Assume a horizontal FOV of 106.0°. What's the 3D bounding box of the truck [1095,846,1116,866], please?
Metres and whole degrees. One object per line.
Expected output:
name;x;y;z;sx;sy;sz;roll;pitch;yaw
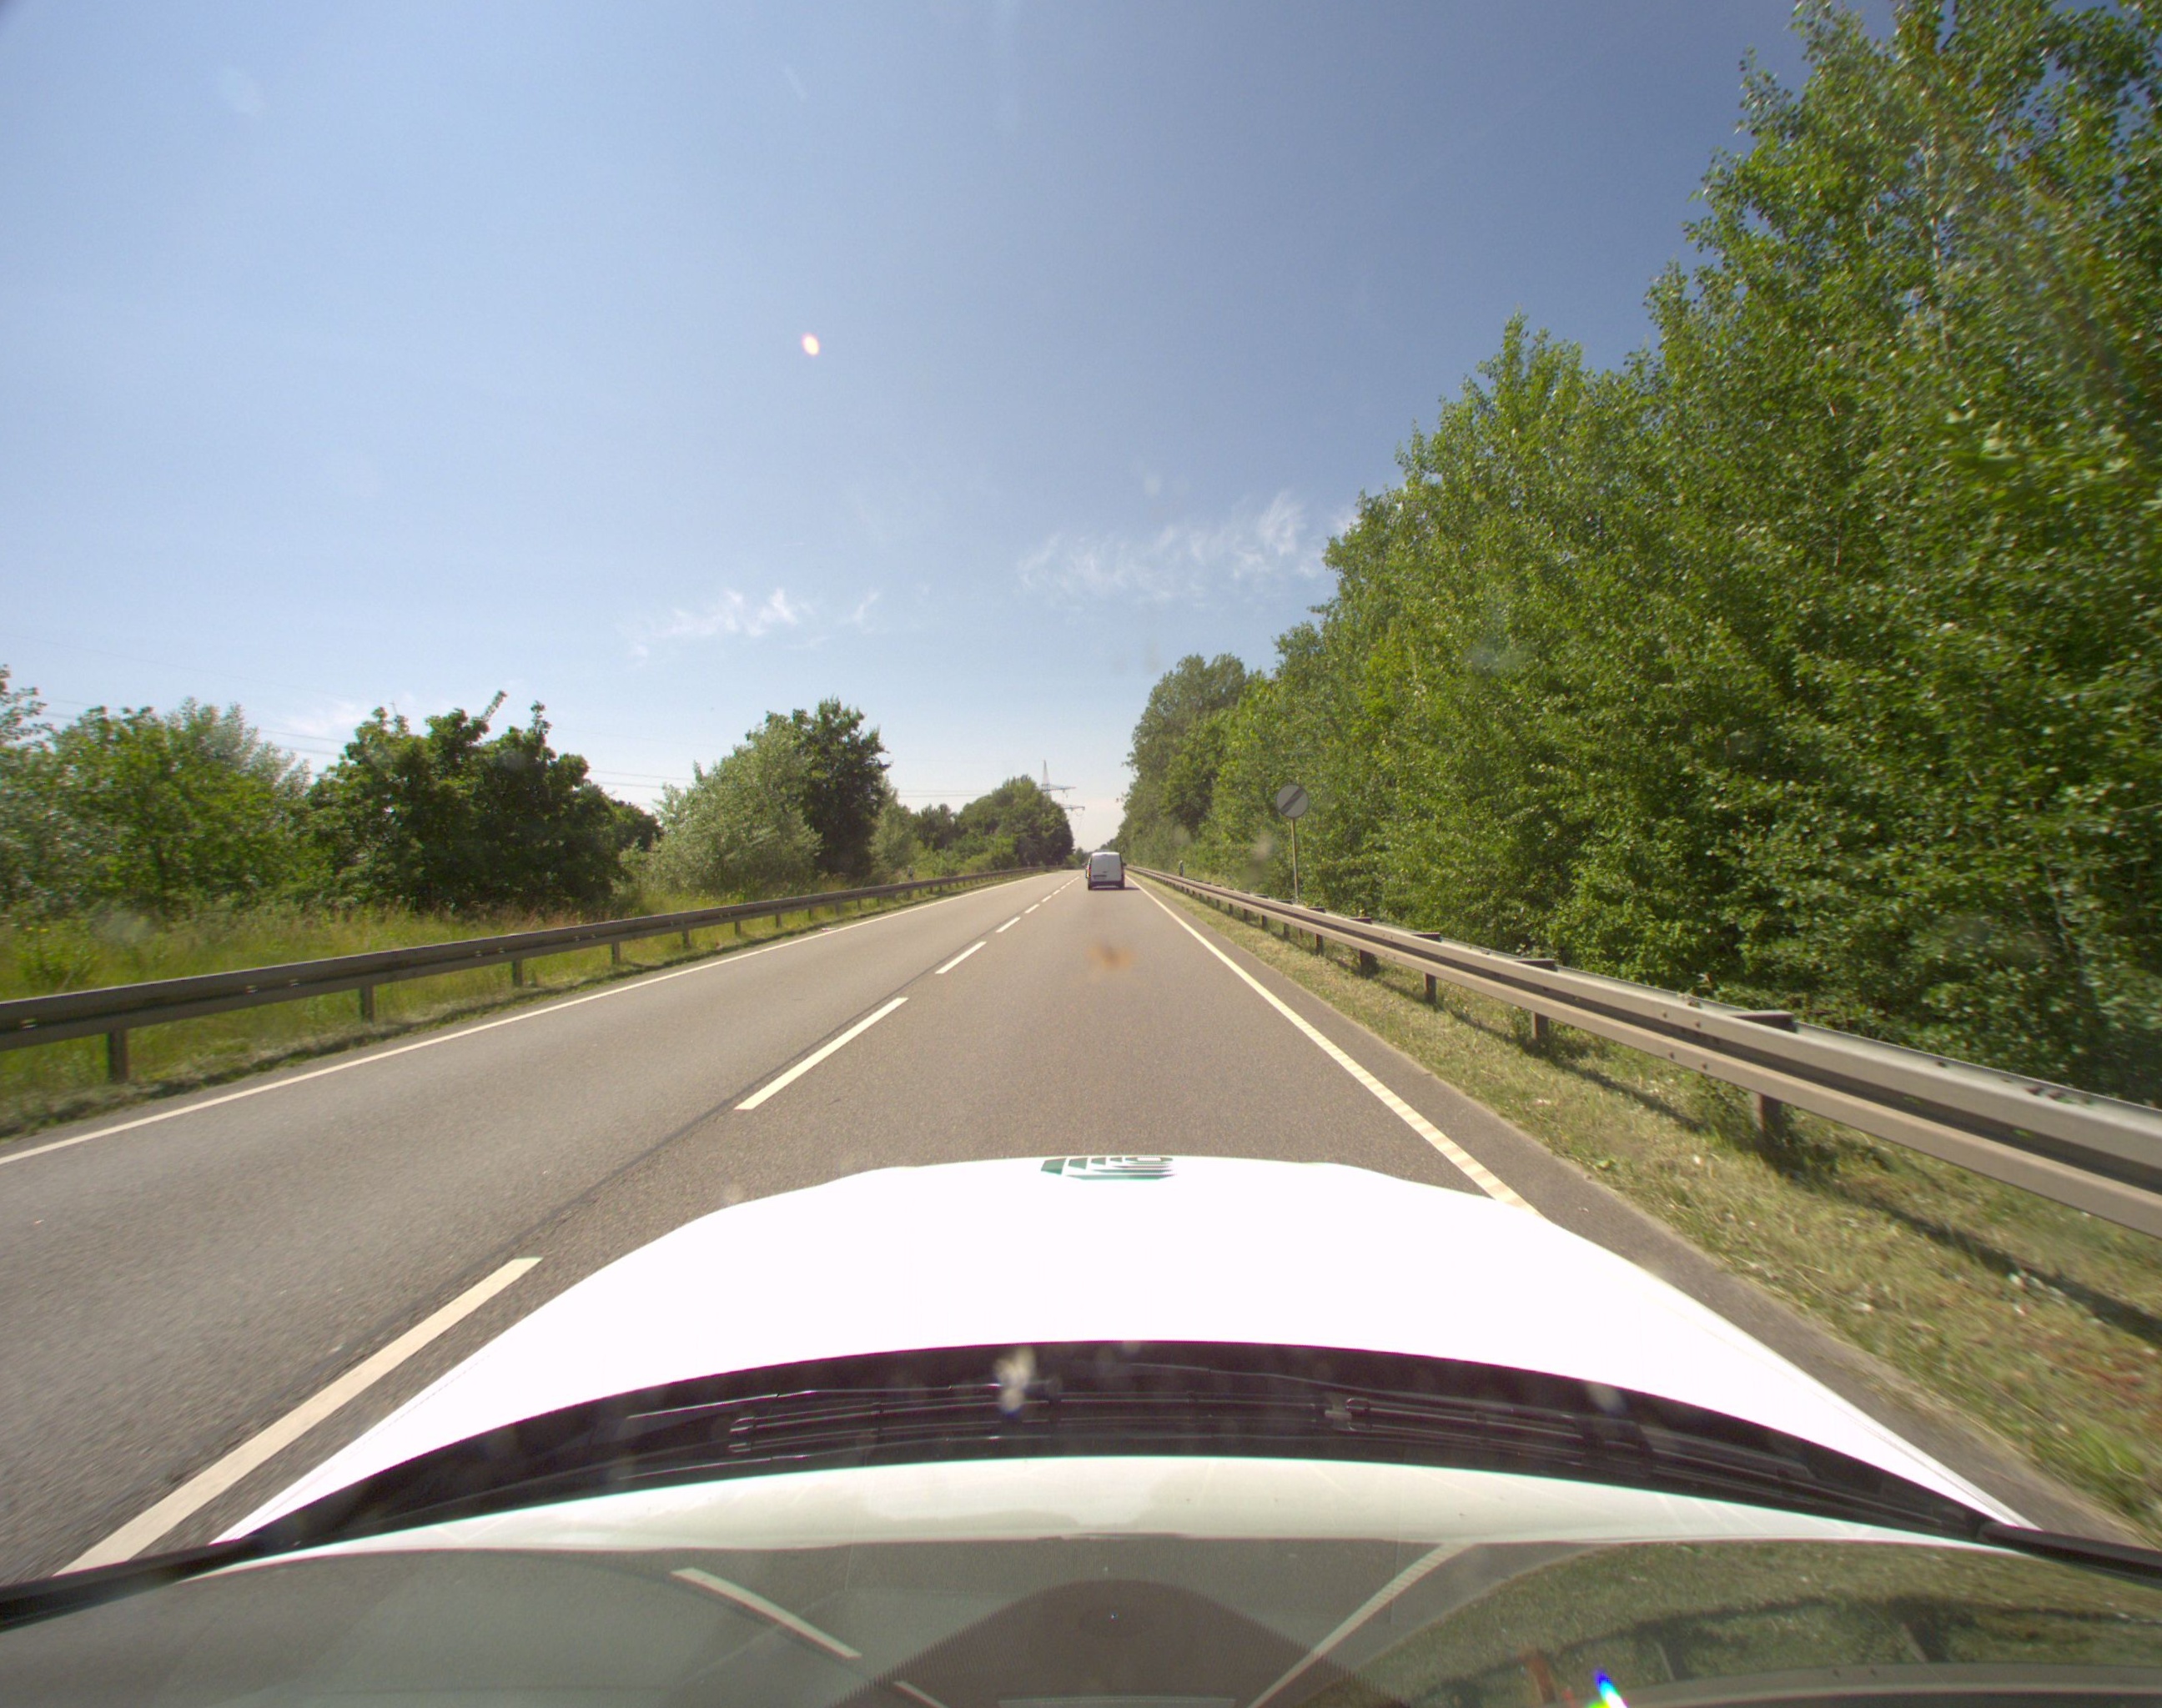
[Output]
truck;4.166;0.267;137.074;3.284;3.172;14.412;1;0;2

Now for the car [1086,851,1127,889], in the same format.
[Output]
car;1.219;0.752;39.598;1.868;1.741;4.001;-1;0;1
